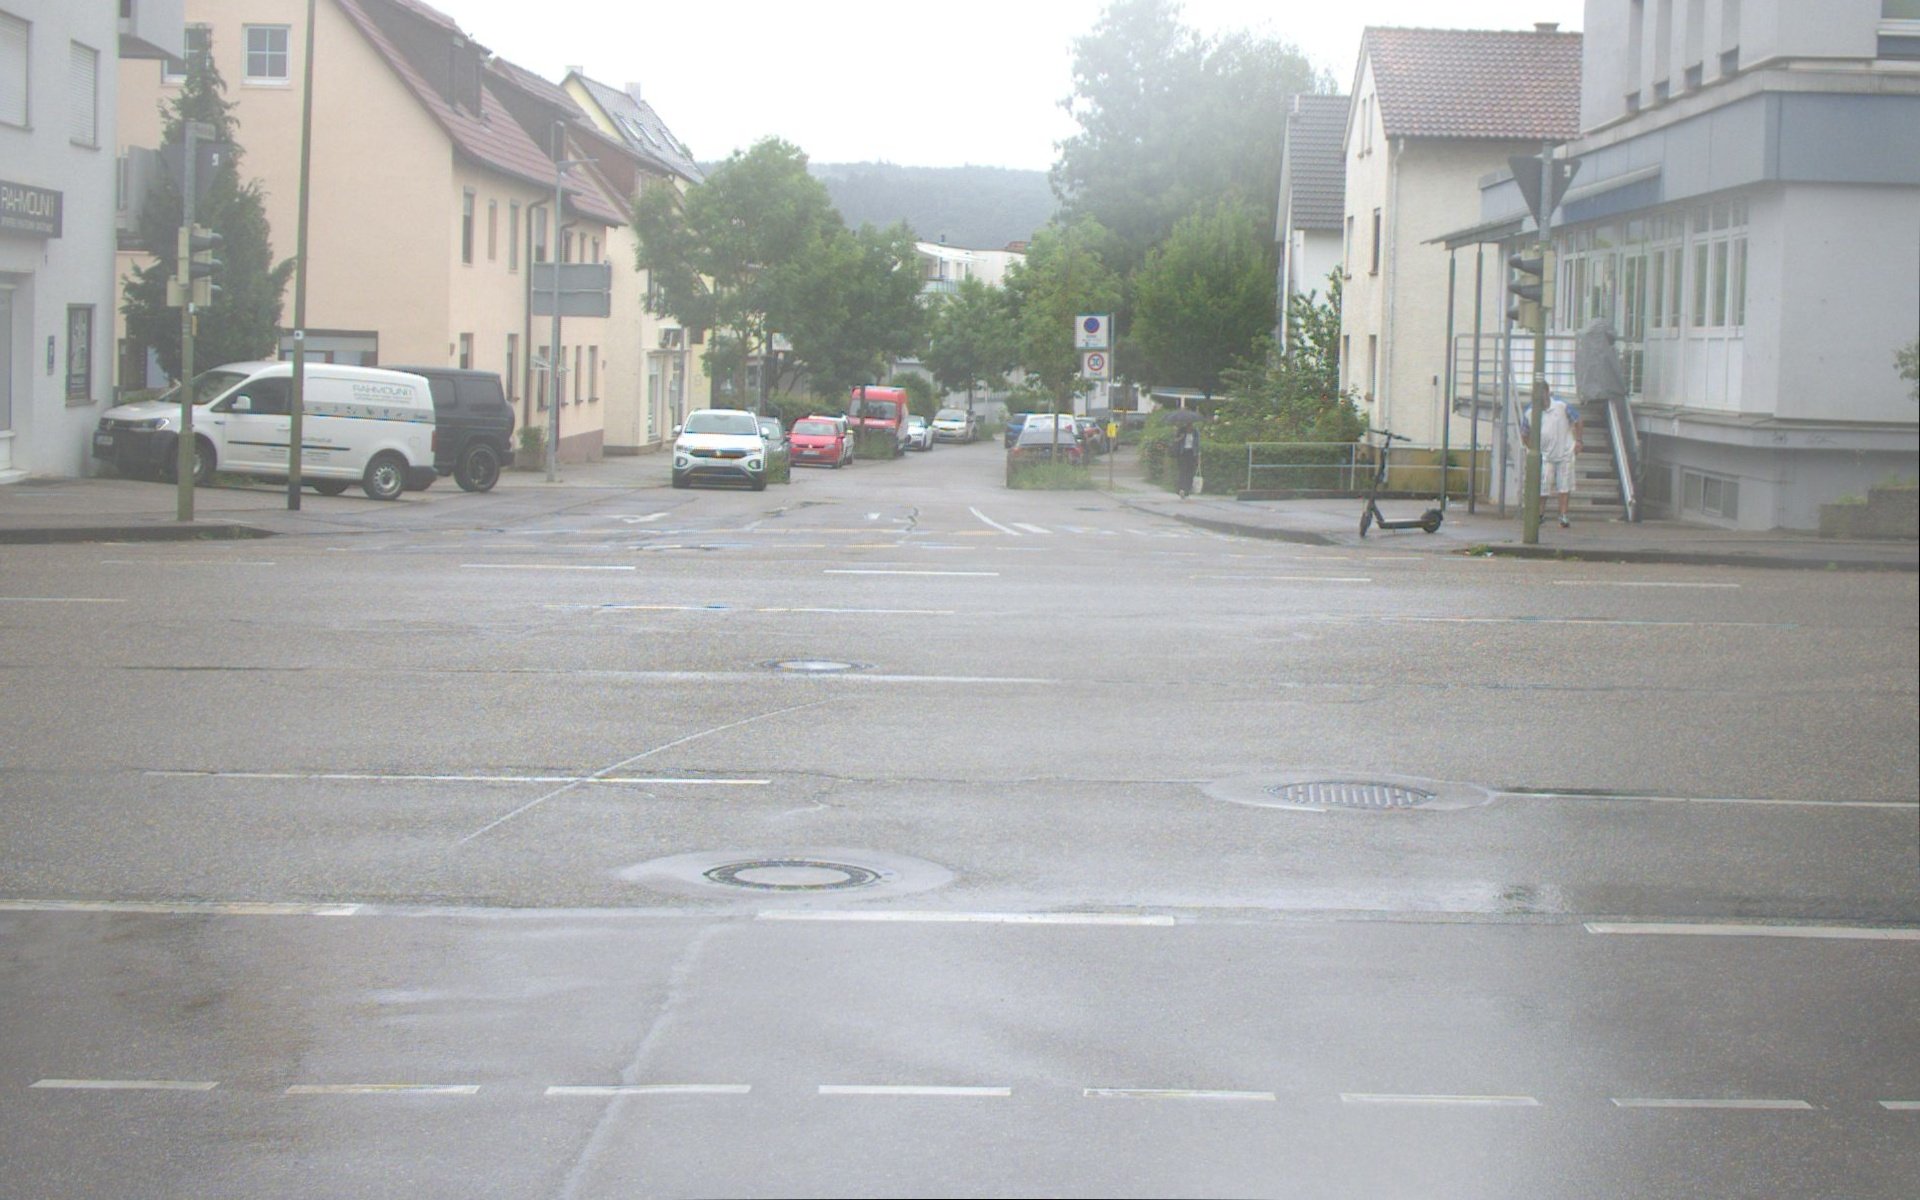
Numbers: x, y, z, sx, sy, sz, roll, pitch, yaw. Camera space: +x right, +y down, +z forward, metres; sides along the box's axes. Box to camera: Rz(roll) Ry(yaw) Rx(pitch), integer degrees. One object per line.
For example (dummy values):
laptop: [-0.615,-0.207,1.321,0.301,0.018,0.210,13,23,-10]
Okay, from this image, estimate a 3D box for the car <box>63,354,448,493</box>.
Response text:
car: [-9.701,-2.419,47.541,4.830,1.829,2.000,-2,3,-38]

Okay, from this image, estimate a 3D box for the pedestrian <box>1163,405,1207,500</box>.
pedestrian: [4.490,-2.934,68.626,0.746,1.842,0.526,4,2,4]

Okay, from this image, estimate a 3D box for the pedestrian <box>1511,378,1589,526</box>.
pedestrian: [6.764,-1.701,39.454,0.647,1.641,0.526,4,2,-6]

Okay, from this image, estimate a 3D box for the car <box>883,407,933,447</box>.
car: [-2.091,-6.955,138.542,1.901,1.553,4.192,0,3,0]

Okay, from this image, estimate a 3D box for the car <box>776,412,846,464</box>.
car: [-4.495,-4.916,104.350,1.901,1.553,4.192,0,3,0]

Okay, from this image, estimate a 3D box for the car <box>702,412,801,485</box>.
car: [-4.778,-3.498,79.322,1.993,1.620,4.192,0,3,0]

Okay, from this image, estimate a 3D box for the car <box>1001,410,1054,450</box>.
car: [2.890,-7.290,147.118,1.994,1.678,4.000,1,3,5]

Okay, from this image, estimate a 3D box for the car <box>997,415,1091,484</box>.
car: [1.959,-3.555,81.234,2.146,1.583,4.128,0,3,0]

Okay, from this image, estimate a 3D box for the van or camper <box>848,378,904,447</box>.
van or camper: [-3.085,-6.883,126.612,1.901,2.504,4.239,0,3,0]

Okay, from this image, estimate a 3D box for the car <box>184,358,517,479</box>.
car: [-9.634,-2.857,54.553,4.830,1.829,2.000,-2,3,-38]

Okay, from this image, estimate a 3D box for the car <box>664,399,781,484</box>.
car: [-4.663,-3.128,67.921,1.993,1.620,4.192,0,3,0]

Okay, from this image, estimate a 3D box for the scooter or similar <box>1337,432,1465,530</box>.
scooter or similar: [4.944,-1.342,38.586,1.268,1.077,0.877,0,2,-4]

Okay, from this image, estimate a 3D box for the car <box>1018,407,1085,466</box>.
car: [2.735,-4.918,103.527,1.901,1.739,4.192,0,3,0]

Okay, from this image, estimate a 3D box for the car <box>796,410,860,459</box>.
car: [-4.309,-5.430,112.748,1.901,1.553,4.192,0,3,0]

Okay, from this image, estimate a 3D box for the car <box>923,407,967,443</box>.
car: [-0.672,-7.854,154.519,1.901,1.553,4.192,0,3,0]
